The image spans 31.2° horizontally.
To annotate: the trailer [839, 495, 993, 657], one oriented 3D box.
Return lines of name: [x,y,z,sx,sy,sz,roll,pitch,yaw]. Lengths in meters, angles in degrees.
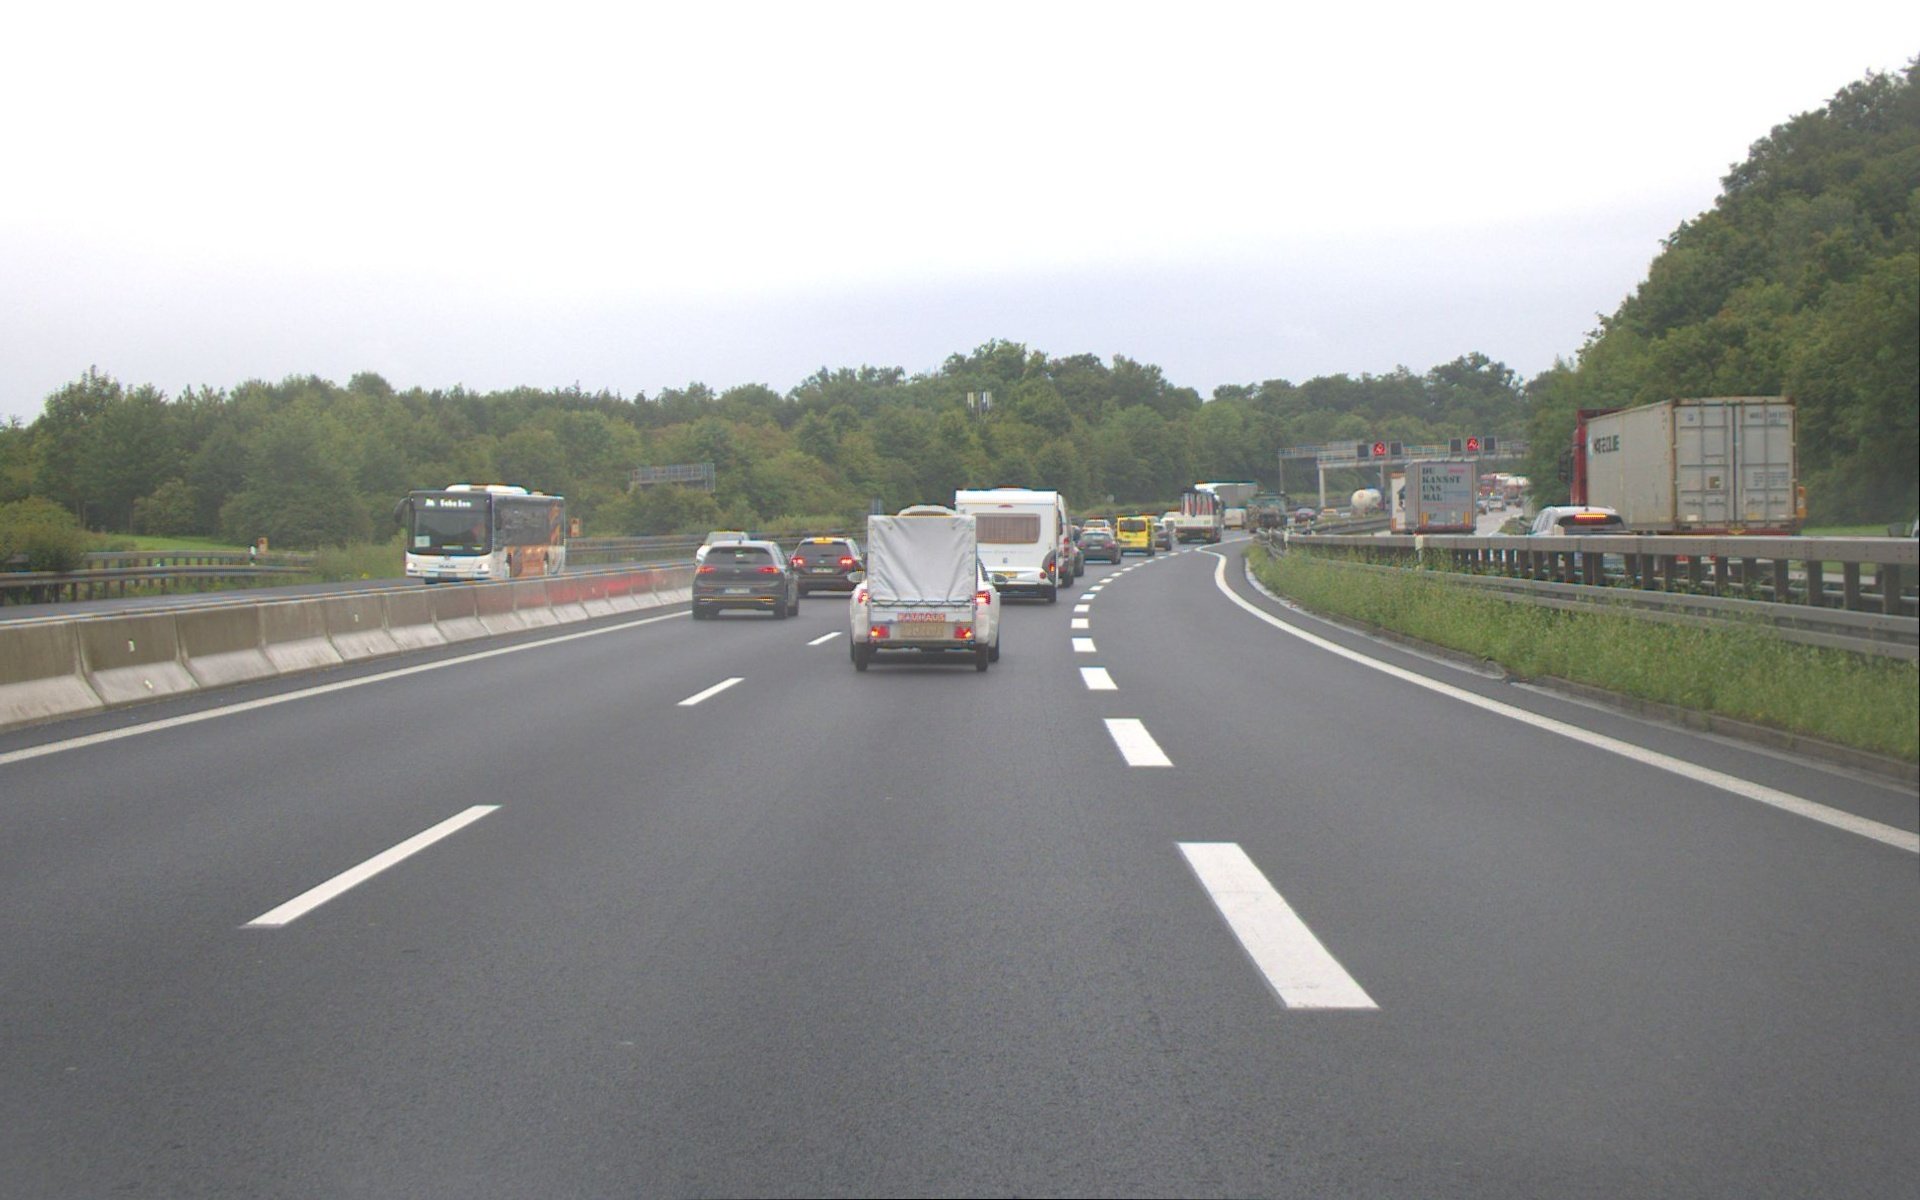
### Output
trailer: [-0.473,-0.299,40.640,1.676,1.806,4.000,0,1,1]

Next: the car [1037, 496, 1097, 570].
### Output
car: [3.085,-1.906,98.584,1.676,2.060,4.000,0,1,2]

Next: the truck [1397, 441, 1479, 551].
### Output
truck: [21.075,-4.500,152.154,3.216,4.650,13.030,0,1,6]

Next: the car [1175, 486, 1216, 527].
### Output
car: [15.608,-6.173,227.656,2.516,2.566,5.311,0,1,6]

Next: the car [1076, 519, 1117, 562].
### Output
car: [5.760,-2.506,145.380,1.676,1.806,4.000,0,1,1]

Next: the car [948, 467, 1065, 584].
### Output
car: [1.115,-1.691,79.207,2.508,2.576,5.699,0,1,3]

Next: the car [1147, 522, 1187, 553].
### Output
car: [11.723,-3.527,194.543,2.038,1.677,3.999,0,1,6]

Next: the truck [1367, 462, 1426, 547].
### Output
truck: [25.027,-5.389,197.221,3.216,4.650,13.029,0,1,7]

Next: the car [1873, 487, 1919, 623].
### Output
car: [10.519,-0.488,34.551,1.667,1.378,4.126,-2,1,2]

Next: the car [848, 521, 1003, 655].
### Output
car: [-0.389,-0.177,44.344,1.818,1.610,4.778,0,1,1]

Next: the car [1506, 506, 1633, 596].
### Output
car: [11.387,-0.921,64.478,1.770,1.604,4.643,0,1,3]

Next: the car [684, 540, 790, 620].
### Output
car: [-4.152,-0.386,64.595,1.676,1.451,4.000,0,1,1]

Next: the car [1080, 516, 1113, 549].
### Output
car: [8.498,-4.186,214.146,1.993,2.007,4.000,0,1,2]

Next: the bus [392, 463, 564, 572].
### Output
bus: [-14.416,-2.429,103.882,2.698,2.948,11.897,-3,1,4]

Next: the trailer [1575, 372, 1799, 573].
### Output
trailer: [15.250,-2.565,73.099,2.604,3.881,12.490,0,1,2]

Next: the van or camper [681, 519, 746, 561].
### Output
van or camper: [-9.053,-2.203,126.602,1.748,1.442,4.585,-1,1,4]

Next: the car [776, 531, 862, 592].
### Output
car: [-3.414,-0.942,83.848,1.765,1.451,4.000,0,1,2]

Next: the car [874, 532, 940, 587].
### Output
car: [-1.606,-1.245,105.446,1.776,1.634,4.043,0,1,2]

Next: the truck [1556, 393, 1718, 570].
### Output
truck: [15.450,-2.647,78.844,2.616,3.871,6.392,0,1,2]

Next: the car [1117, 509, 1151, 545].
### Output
car: [8.863,-3.708,174.571,1.676,1.806,4.000,0,1,3]
